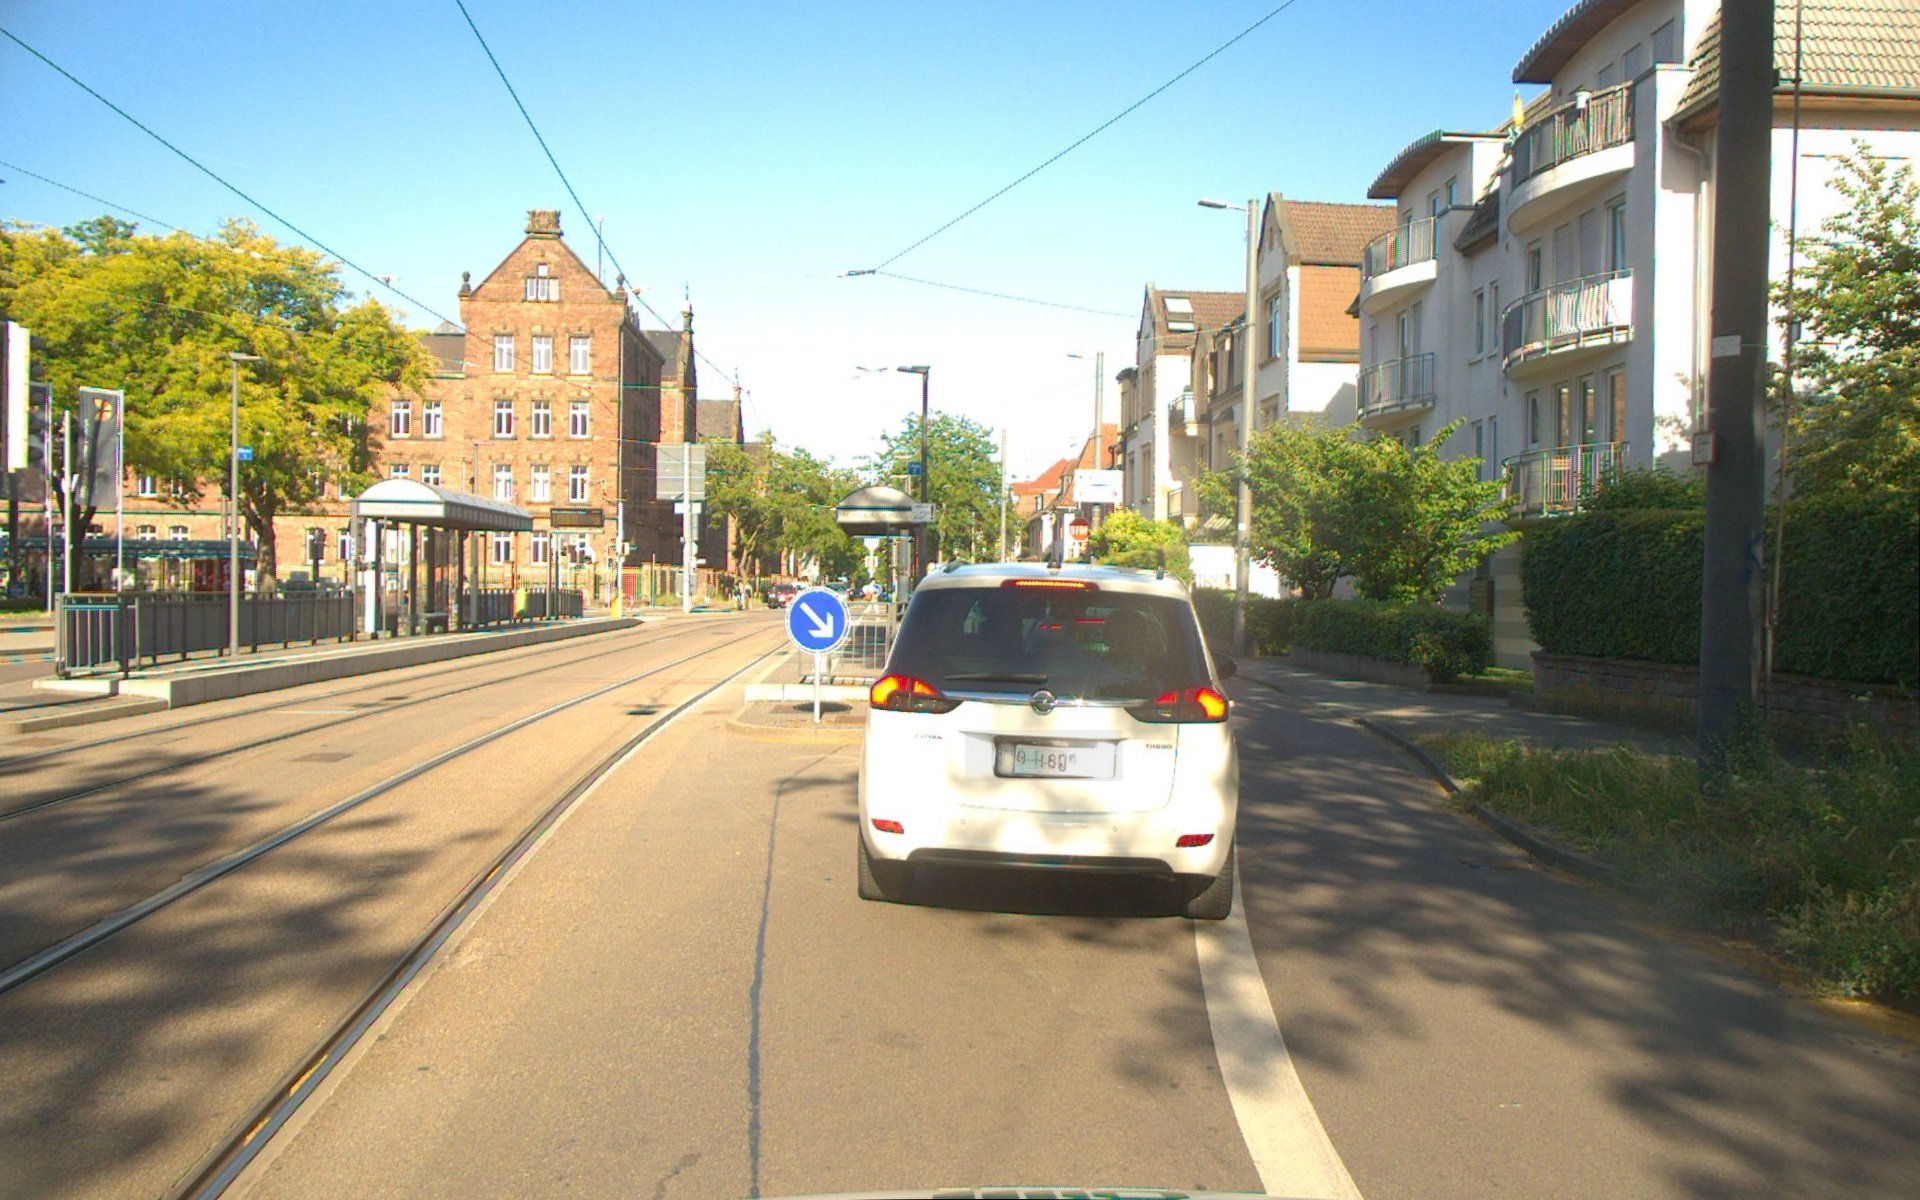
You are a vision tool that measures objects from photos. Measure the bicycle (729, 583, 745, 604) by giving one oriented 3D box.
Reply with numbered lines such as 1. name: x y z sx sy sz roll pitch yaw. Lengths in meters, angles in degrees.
1. bicycle: -13.983 -0.400 103.927 0.805 1.319 2.676 0 0 -4

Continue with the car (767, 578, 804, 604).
1. car: -12.137 -0.613 115.057 1.952 1.752 4.001 1 0 2

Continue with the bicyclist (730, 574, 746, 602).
1. bicyclist: -13.981 -0.733 104.215 0.924 1.765 0.861 1 0 -3

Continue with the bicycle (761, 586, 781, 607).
1. bicycle: -12.210 -0.242 106.817 1.125 1.319 2.859 0 0 -4

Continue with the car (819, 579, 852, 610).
1. car: -8.152 -0.341 108.593 1.953 1.947 3.999 0 0 -1

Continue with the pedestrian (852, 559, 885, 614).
1. pedestrian: -3.485 -0.517 62.965 1.134 2.048 1.117 0 1 -9

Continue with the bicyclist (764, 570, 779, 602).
1. bicyclist: -12.175 -0.873 106.813 0.932 2.049 0.822 1 0 -6

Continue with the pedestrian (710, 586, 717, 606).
1. pedestrian: -17.696 -0.270 118.769 0.354 1.463 0.549 1 0 0

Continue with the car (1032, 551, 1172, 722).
1. car: 1.953 0.425 21.875 1.672 2.049 3.909 0 0 7

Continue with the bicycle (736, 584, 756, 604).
1. bicycle: -14.298 -0.430 110.459 1.125 1.319 2.859 0 0 -4

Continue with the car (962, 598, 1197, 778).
1. car: 1.232 0.722 15.731 1.951 1.467 4.003 0 0 7

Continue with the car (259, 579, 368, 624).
1. car: -27.921 0.048 71.527 3.911 1.821 1.997 2 0 -7

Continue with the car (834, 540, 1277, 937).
1. car: 0.600 0.626 9.066 1.852 1.639 4.231 0 -2 6
